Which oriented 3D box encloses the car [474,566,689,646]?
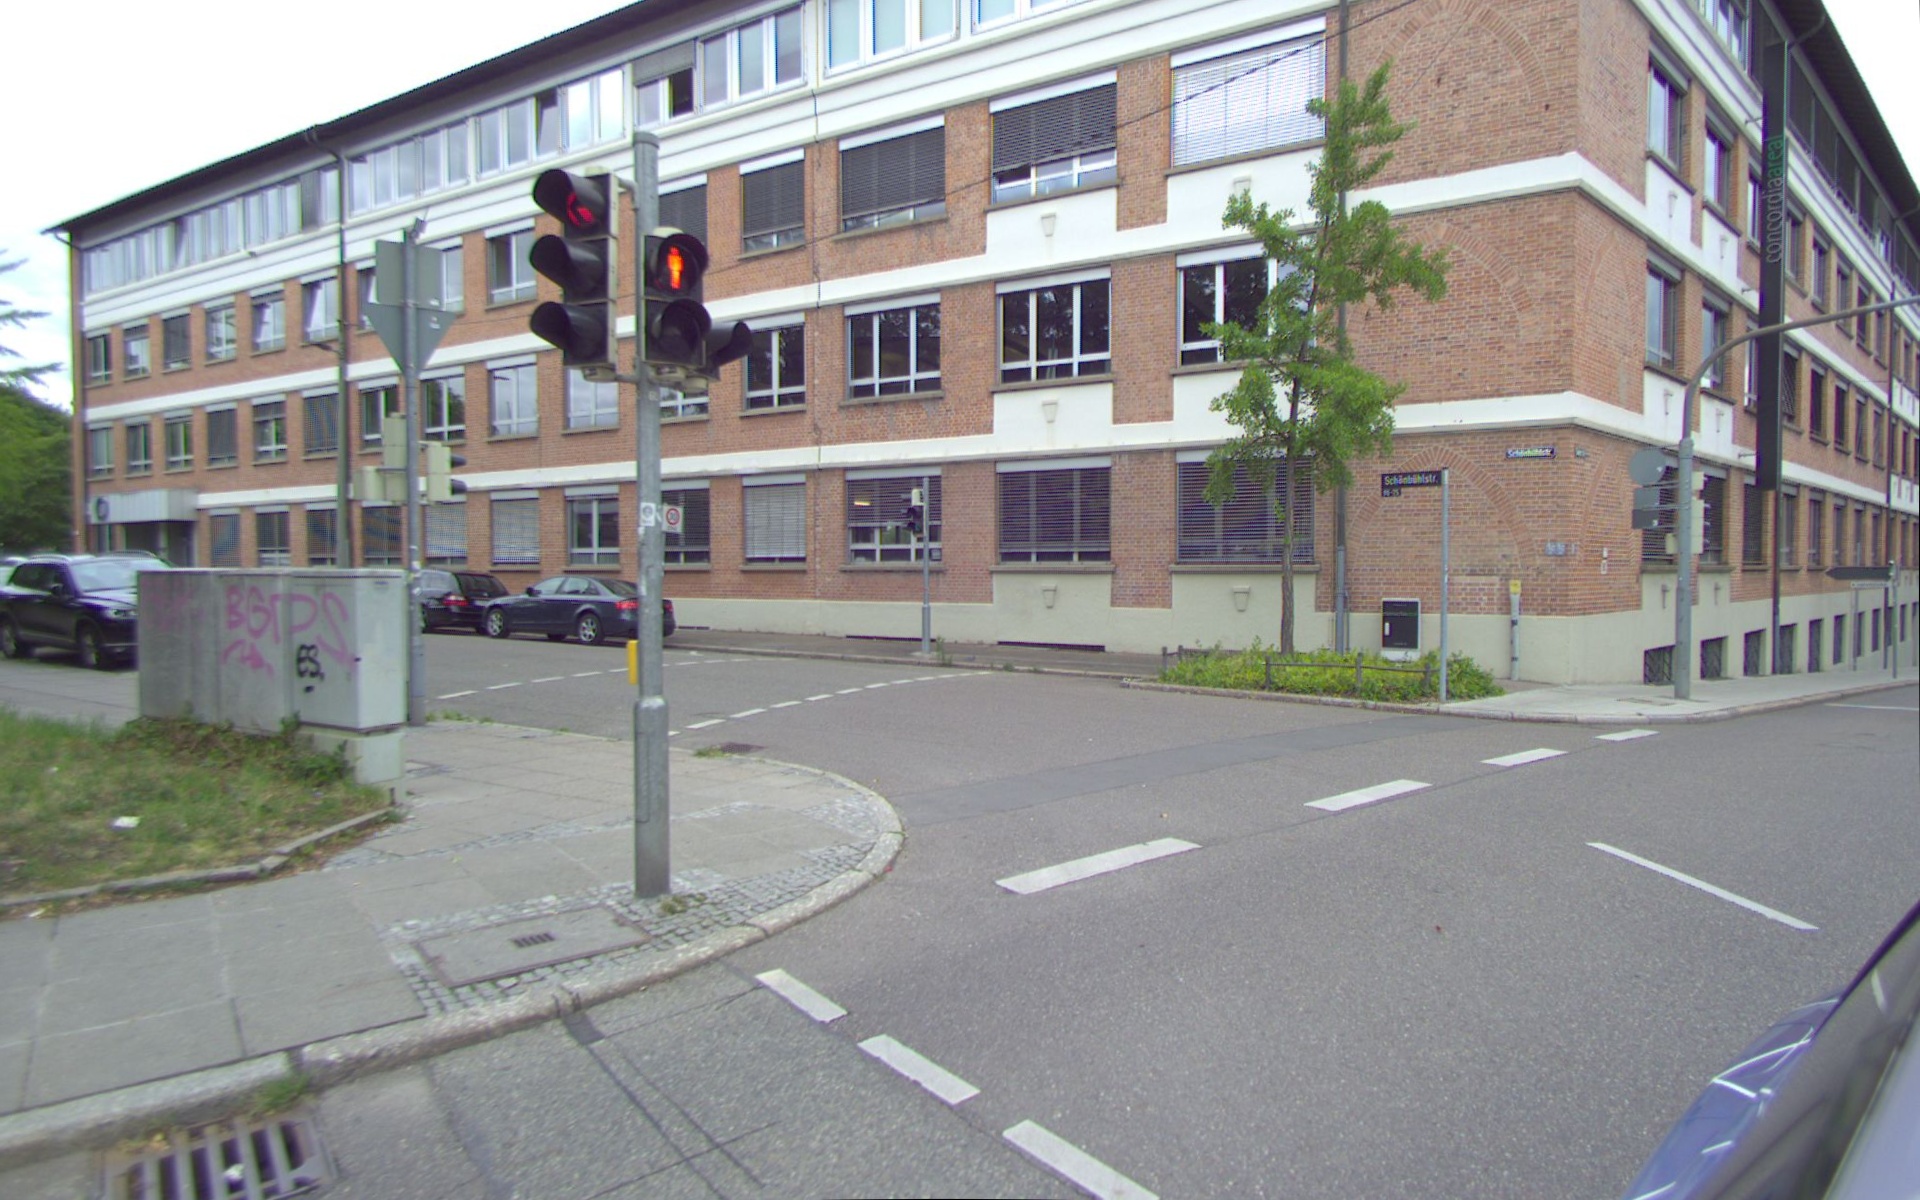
[{"bbox_3d":[-7.984,0.116,21.281,4.380,1.423,1.755,2,-2,28],"label":"car"}]

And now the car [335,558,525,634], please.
[{"bbox_3d":[-12.430,-0.103,23.694,4.358,1.529,1.755,2,-2,28],"label":"car"}]

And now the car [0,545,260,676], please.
[{"bbox_3d":[-13.631,0.046,16.385,4.618,1.746,1.946,2,6,30],"label":"car"}]

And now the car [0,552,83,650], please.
[{"bbox_3d":[-18.637,-0.031,19.152,4.273,1.627,1.730,2,6,30],"label":"car"}]

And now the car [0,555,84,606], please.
[{"bbox_3d":[-32.473,-0.710,35.102,4.221,1.568,1.703,2,-2,28],"label":"car"}]

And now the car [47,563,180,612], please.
[{"bbox_3d":[-26.725,-0.396,31.926,4.221,1.338,1.703,2,-2,28],"label":"car"}]
